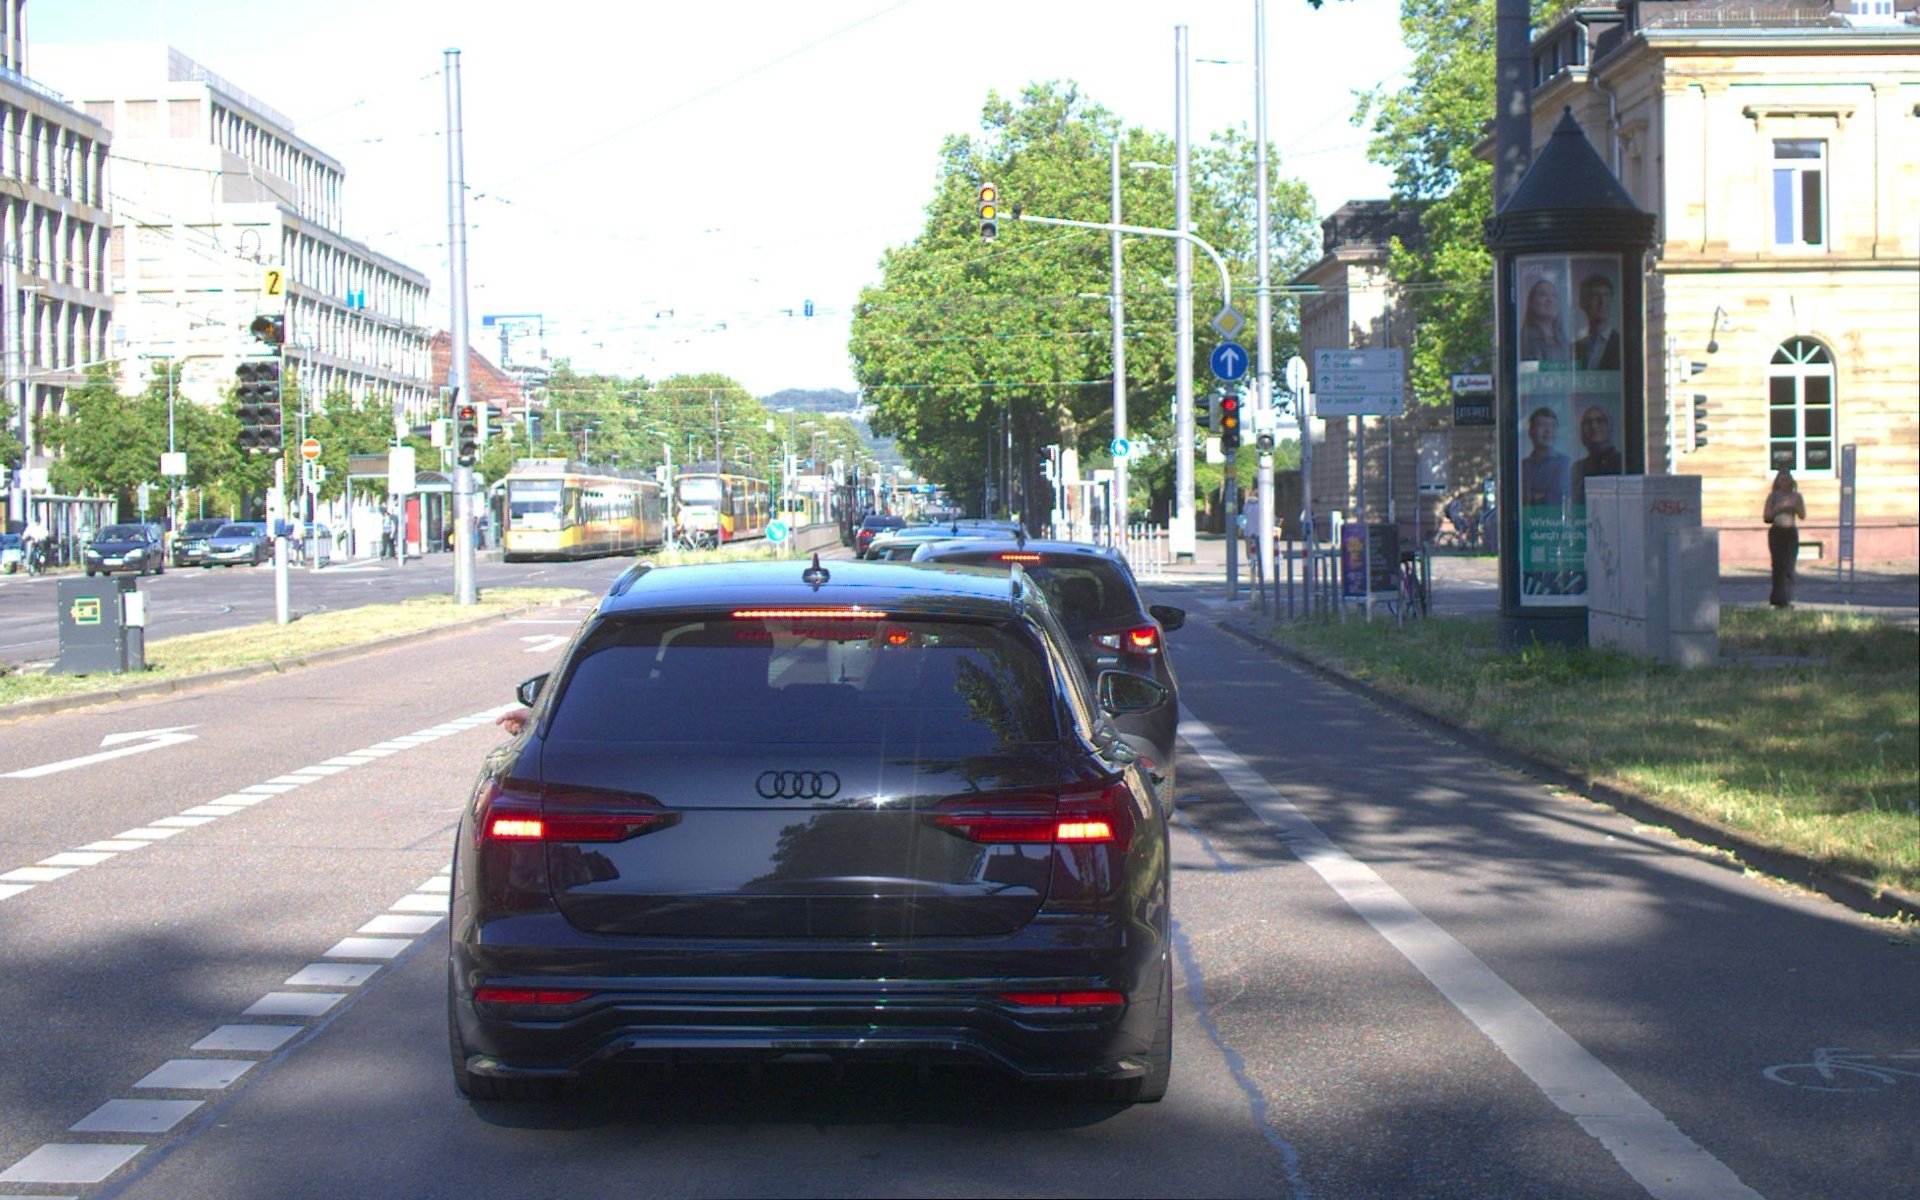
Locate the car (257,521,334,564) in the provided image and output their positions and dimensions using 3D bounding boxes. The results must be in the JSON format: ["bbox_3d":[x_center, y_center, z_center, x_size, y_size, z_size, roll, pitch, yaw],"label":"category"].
[{"bbox_3d":[-23.675,-2.071,122.659,1.820,1.452,4.157,-1,1,2],"label":"car"}]

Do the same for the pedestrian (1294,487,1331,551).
[{"bbox_3d":[10.285,-2.362,100.286,0.979,1.859,0.827,-1,1,-1],"label":"pedestrian"}]

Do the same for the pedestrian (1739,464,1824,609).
[{"bbox_3d":[9.860,-0.764,41.282,0.769,1.703,1.042,-1,1,1],"label":"pedestrian"}]

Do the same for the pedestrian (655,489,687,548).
[{"bbox_3d":[-8.571,-2.420,101.867,0.740,1.735,0.664,-2,2,-26],"label":"pedestrian"}]

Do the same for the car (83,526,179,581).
[{"bbox_3d":[-23.149,-1.316,96.088,1.820,1.452,4.166,-1,1,-3],"label":"car"}]

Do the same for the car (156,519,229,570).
[{"bbox_3d":[-28.317,-2.074,126.950,1.842,1.806,4.113,-1,2,-1],"label":"car"}]

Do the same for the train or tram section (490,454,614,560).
[{"bbox_3d":[-14.183,-3.258,120.582,2.813,3.477,13.205,-1,2,0],"label":"train or tram section"}]

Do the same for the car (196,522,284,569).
[{"bbox_3d":[-23.670,-1.817,113.205,1.820,1.452,4.540,-1,1,2],"label":"car"}]

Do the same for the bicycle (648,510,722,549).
[{"bbox_3d":[-8.039,-2.060,100.433,2.006,1.104,0.764,-2,2,-32],"label":"bicycle"}]

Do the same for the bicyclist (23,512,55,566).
[{"bbox_3d":[-27.053,-1.786,101.000,0.685,1.557,0.785,-1,1,1],"label":"bicyclist"}]

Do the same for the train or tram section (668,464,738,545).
[{"bbox_3d":[-11.389,-4.270,153.187,2.608,3.439,11.134,-1,2,-2],"label":"train or tram section"}]

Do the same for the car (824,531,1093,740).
[{"bbox_3d":[-0.009,0.215,26.558,1.902,1.481,4.145,0,1,0],"label":"car"}]

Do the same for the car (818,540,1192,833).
[{"bbox_3d":[0.231,0.408,19.638,1.902,1.481,4.145,0,1,0],"label":"car"}]

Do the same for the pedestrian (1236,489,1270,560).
[{"bbox_3d":[6.914,-1.795,81.199,0.682,1.655,0.758,-1,1,-2],"label":"pedestrian"}]

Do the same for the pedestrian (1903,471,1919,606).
[{"bbox_3d":[11.776,-0.739,41.013,0.769,1.600,0.986,-1,1,1],"label":"pedestrian"}]

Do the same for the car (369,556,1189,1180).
[{"bbox_3d":[-0.422,0.599,10.082,1.902,1.417,4.145,0,1,0],"label":"car"}]

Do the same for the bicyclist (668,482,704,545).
[{"bbox_3d":[-8.012,-2.522,100.447,0.756,1.812,0.764,-2,2,-32],"label":"bicyclist"}]

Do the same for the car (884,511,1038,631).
[{"bbox_3d":[0.014,-0.402,44.904,1.902,1.481,4.145,0,1,0],"label":"car"}]

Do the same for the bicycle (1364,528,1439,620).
[{"bbox_3d":[5.301,-0.324,41.339,0.540,1.058,1.772,-1,2,-4],"label":"bicycle"}]

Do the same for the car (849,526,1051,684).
[{"bbox_3d":[-0.096,0.013,34.577,1.902,1.481,4.145,0,1,0],"label":"car"}]

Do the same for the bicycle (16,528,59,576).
[{"bbox_3d":[-27.115,-1.420,101.027,0.685,1.377,1.947,-1,1,1],"label":"bicycle"}]
